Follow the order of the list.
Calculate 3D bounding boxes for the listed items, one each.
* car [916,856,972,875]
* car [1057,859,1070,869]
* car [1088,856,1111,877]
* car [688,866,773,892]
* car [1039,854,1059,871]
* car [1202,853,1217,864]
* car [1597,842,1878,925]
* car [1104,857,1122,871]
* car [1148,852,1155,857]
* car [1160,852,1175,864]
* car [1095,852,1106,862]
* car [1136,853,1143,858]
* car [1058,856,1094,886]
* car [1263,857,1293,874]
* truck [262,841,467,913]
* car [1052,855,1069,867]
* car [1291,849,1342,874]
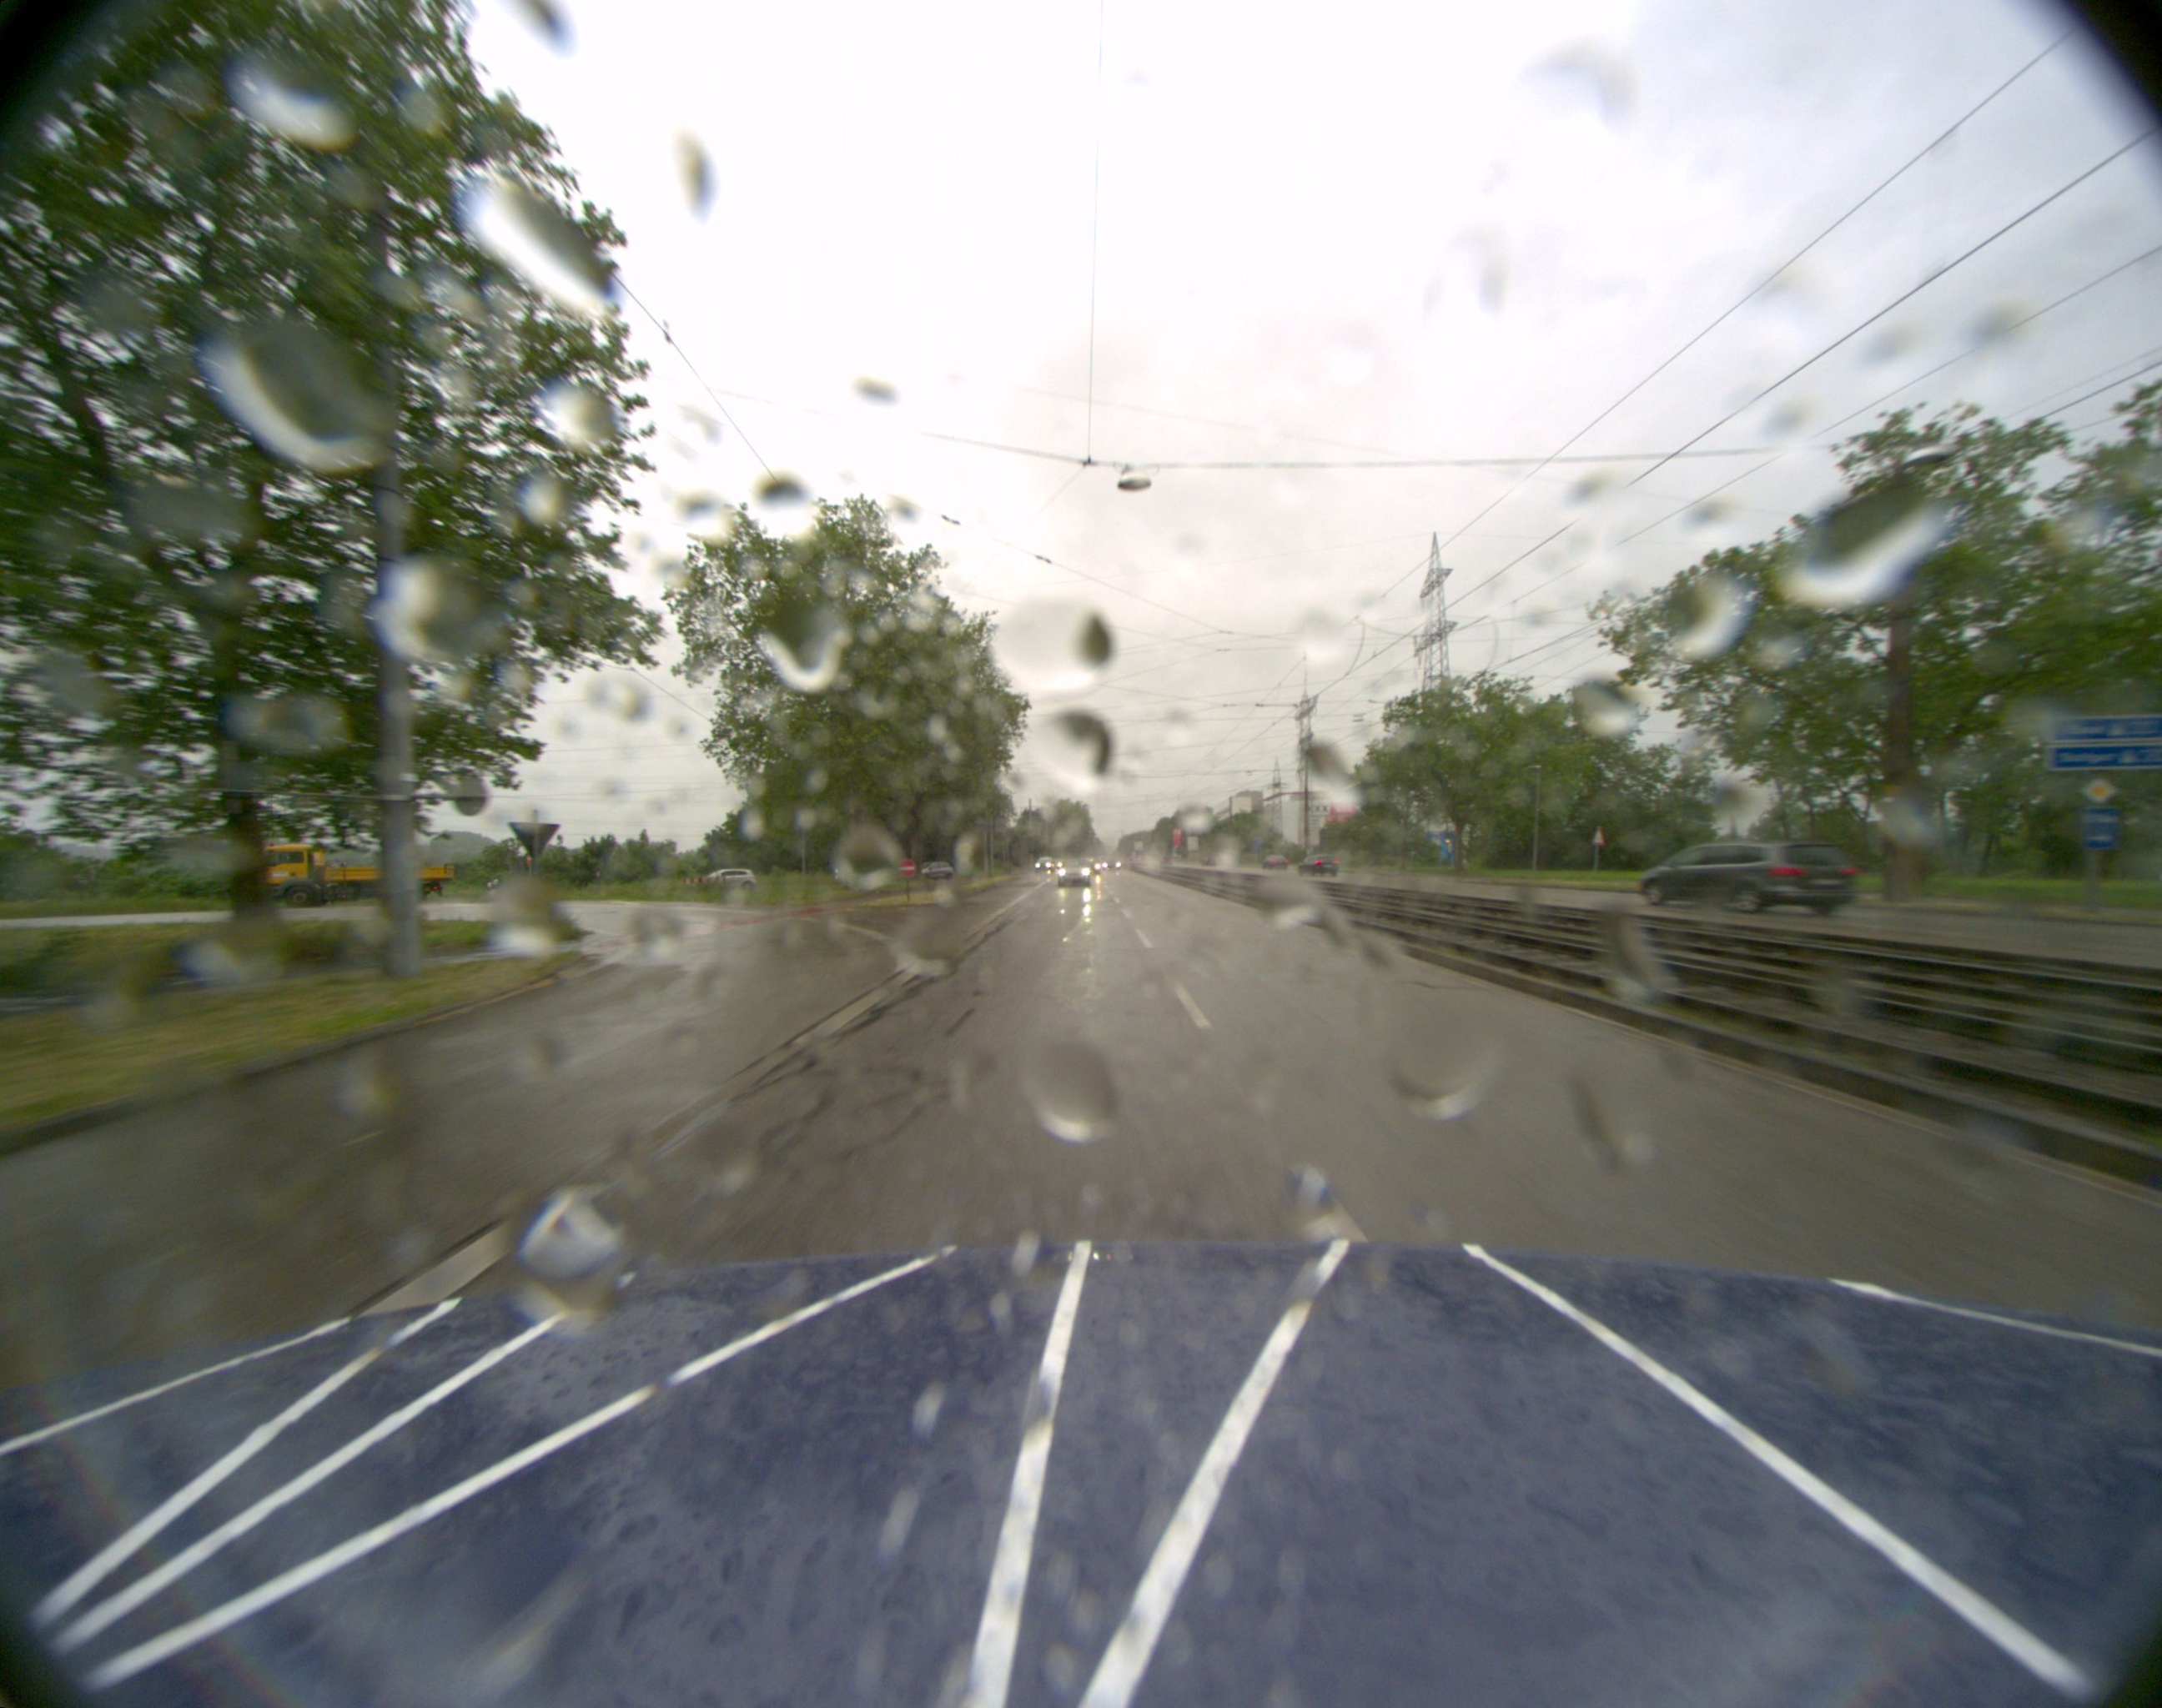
[{"bbox_3d":[-11.010,0.907,61.318,1.889,1.349,4.286,-3,-1,37],"label":"car"},{"bbox_3d":[-2.633,1.505,116.795,1.783,1.419,4.001,-1,-1,2],"label":"car"},{"bbox_3d":[1.605,1.042,64.960,1.815,1.692,4.001,-1,-1,2],"label":"car"},{"bbox_3d":[-22.272,1.569,48.372,4.614,1.494,1.627,-2,-1,-39],"label":"car"},{"bbox_3d":[-3.437,0.926,82.645,1.797,1.692,4.764,-2,-1,2],"label":"car"},{"bbox_3d":[19.688,0.670,116.479,1.693,1.542,4.000,-2,-1,0],"label":"car"},{"bbox_3d":[16.041,0.672,19.225,1.824,1.695,6.105,-2,-1,1],"label":"car"},{"bbox_3d":[3.553,1.097,84.926,1.807,1.521,3.646,-2,-1,0],"label":"car"},{"bbox_3d":[21.188,0.190,227.880,1.998,1.455,5.253,1,-1,4],"label":"car"},{"bbox_3d":[14.277,0.627,125.596,1.892,1.798,5.005,-2,-1,-1],"label":"car"},{"bbox_3d":[3.267,0.547,129.851,1.807,1.521,3.646,-2,-1,0],"label":"car"},{"bbox_3d":[19.783,0.432,256.792,1.829,1.625,5.137,-2,-1,0],"label":"car"},{"bbox_3d":[-0.251,0.906,41.169,1.807,1.521,3.646,-2,-1,0],"label":"car"},{"bbox_3d":[20.499,1.222,79.150,1.846,1.676,4.650,-2,-1,-1],"label":"car"},{"bbox_3d":[-35.549,1.094,38.086,6.942,3.238,2.559,-2,-1,-27],"label":"truck"},{"bbox_3d":[-2.564,0.851,95.084,1.783,1.419,4.001,-1,-1,2],"label":"car"},{"bbox_3d":[16.428,0.541,53.237,1.795,1.540,5.313,-2,-1,0],"label":"car"}]
